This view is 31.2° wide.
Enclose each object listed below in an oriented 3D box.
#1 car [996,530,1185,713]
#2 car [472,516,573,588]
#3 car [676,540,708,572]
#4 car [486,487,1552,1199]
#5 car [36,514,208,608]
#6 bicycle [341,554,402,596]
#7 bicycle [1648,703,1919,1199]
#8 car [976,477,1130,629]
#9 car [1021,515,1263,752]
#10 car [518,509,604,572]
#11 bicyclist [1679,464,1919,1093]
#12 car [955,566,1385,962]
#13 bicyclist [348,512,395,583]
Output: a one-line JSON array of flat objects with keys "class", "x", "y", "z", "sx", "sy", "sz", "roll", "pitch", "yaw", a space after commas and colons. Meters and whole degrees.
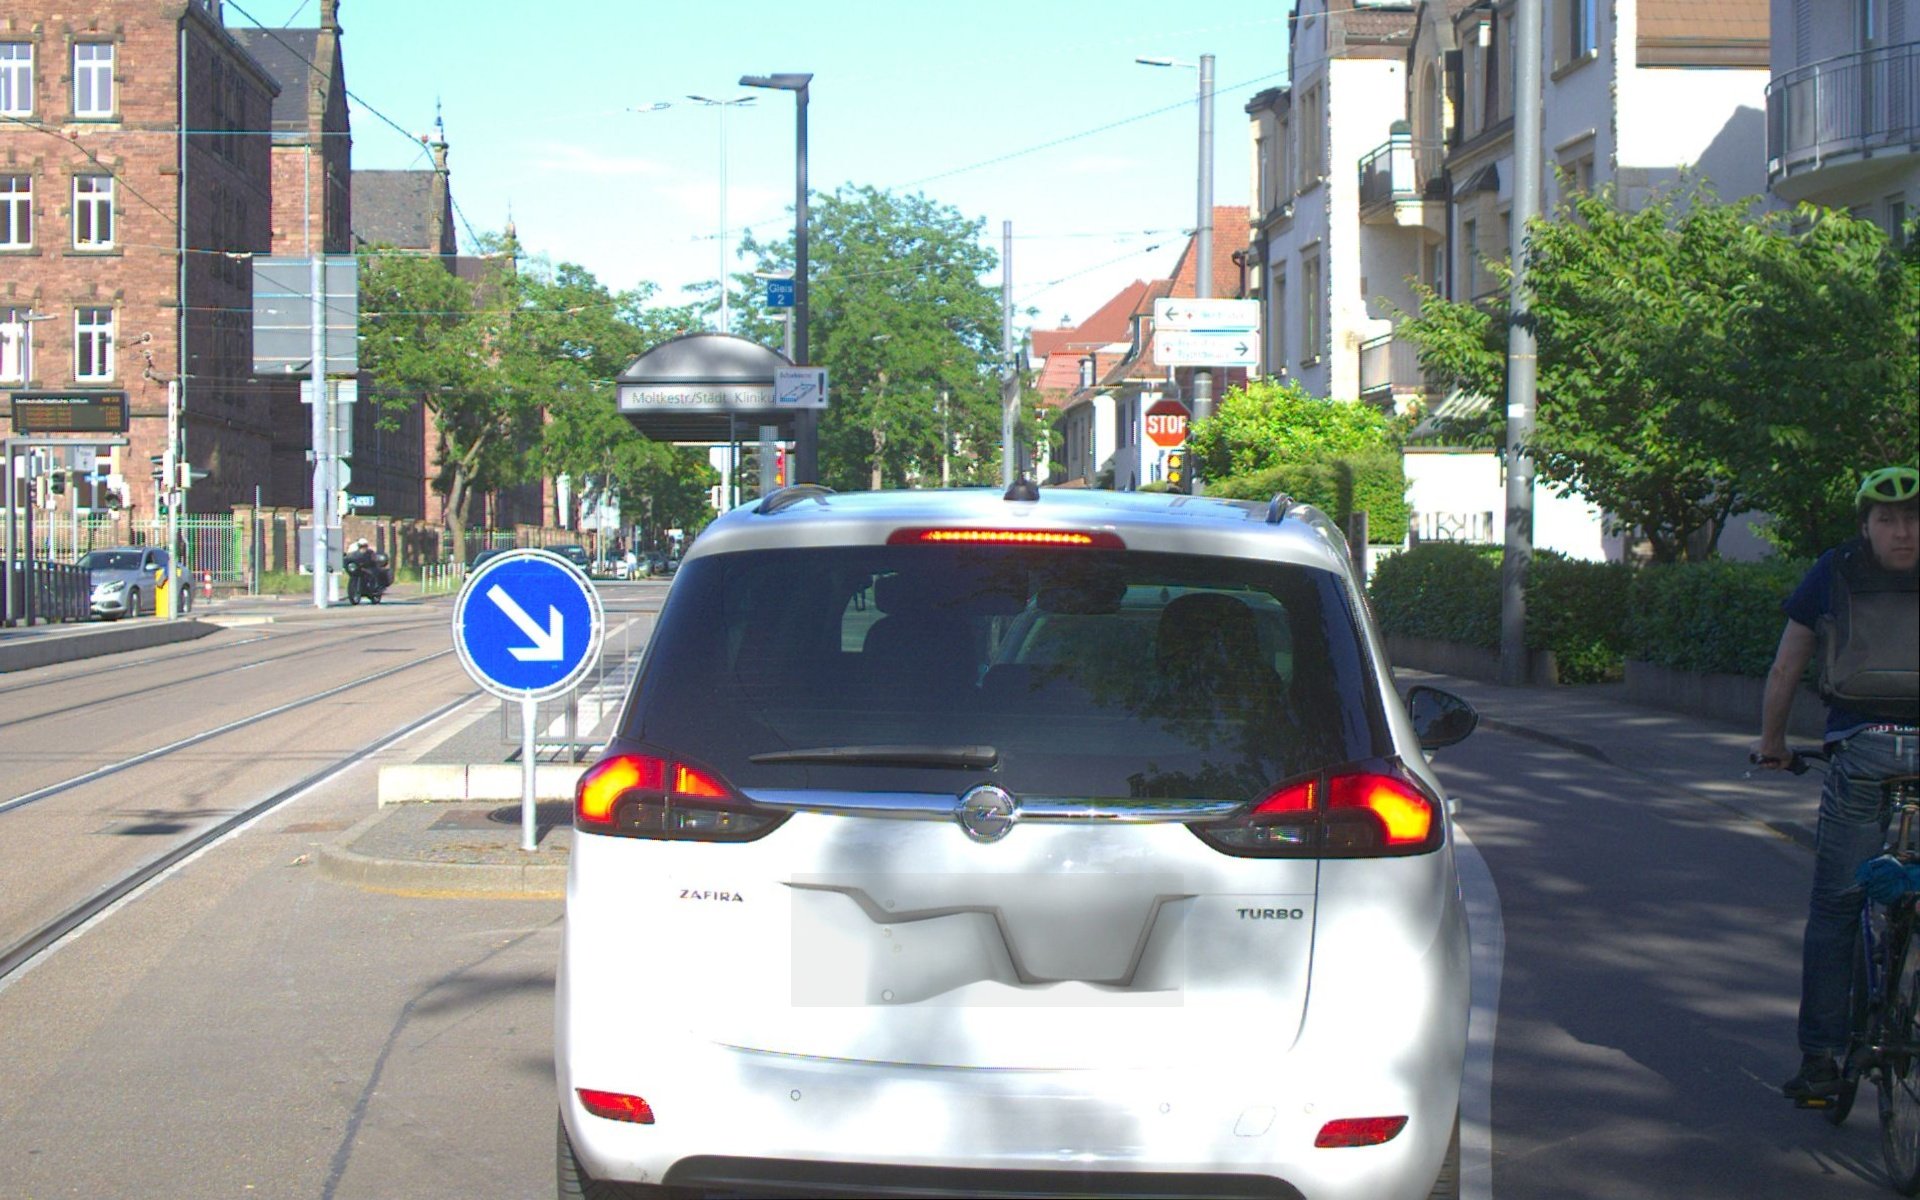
[{"class": "car", "x": 1.223, "y": 0.162, "z": 33.648, "sx": 1.596, "sy": 1.629, "sz": 3.901, "roll": 2, "pitch": 1, "yaw": -1}, {"class": "car", "x": -12.549, "y": -1.371, "z": 98.865, "sx": 1.994, "sy": 2.007, "sz": 3.999, "roll": 1, "pitch": 1, "yaw": 6}, {"class": "car", "x": -17.539, "y": -2.863, "z": 224.854, "sx": 1.993, "sy": 2.007, "sz": 4.001, "roll": 1, "pitch": 1, "yaw": -6}, {"class": "car", "x": 0.262, "y": 0.561, "z": 8.081, "sx": 1.878, "sy": 1.579, "sz": 3.999, "roll": 1, "pitch": 1, "yaw": 5}, {"class": "car", "x": -16.552, "y": -0.756, "z": 68.108, "sx": 1.827, "sy": 1.782, "sz": 4.326, "roll": 1, "pitch": 0, "yaw": 8}, {"class": "bicycle", "x": -14.087, "y": -0.612, "z": 82.344, "sx": 0.726, "sy": 0.962, "sz": 2.059, "roll": 0, "pitch": 1, "yaw": 12}, {"class": "bicycle", "x": 2.267, "y": 0.880, "z": 8.705, "sx": 0.642, "sy": 1.139, "sz": 1.902, "roll": 0, "pitch": 1, "yaw": -1}, {"class": "car", "x": 1.046, "y": -0.566, "z": 40.199, "sx": 1.596, "sy": 1.629, "sz": 3.901, "roll": 2, "pitch": 1, "yaw": -1}, {"class": "car", "x": 1.308, "y": 0.192, "z": 25.962, "sx": 1.569, "sy": 1.609, "sz": 3.784, "roll": 2, "pitch": 1, "yaw": 0}, {"class": "car", "x": -13.223, "y": -1.959, "z": 114.077, "sx": 1.994, "sy": 2.007, "sz": 3.999, "roll": 1, "pitch": 1, "yaw": 6}, {"class": "bicyclist", "x": 2.270, "y": 0.419, "z": 8.679, "sx": 0.644, "sy": 1.482, "sz": 1.115, "roll": 1, "pitch": 0, "yaw": -1}, {"class": "car", "x": 0.948, "y": 0.592, "z": 14.782, "sx": 1.569, "sy": 1.396, "sz": 3.783, "roll": 2, "pitch": 1, "yaw": 5}, {"class": "bicyclist", "x": -14.093, "y": -1.271, "z": 82.330, "sx": 0.726, "sy": 1.682, "sz": 1.169, "roll": 0, "pitch": 1, "yaw": 12}]
